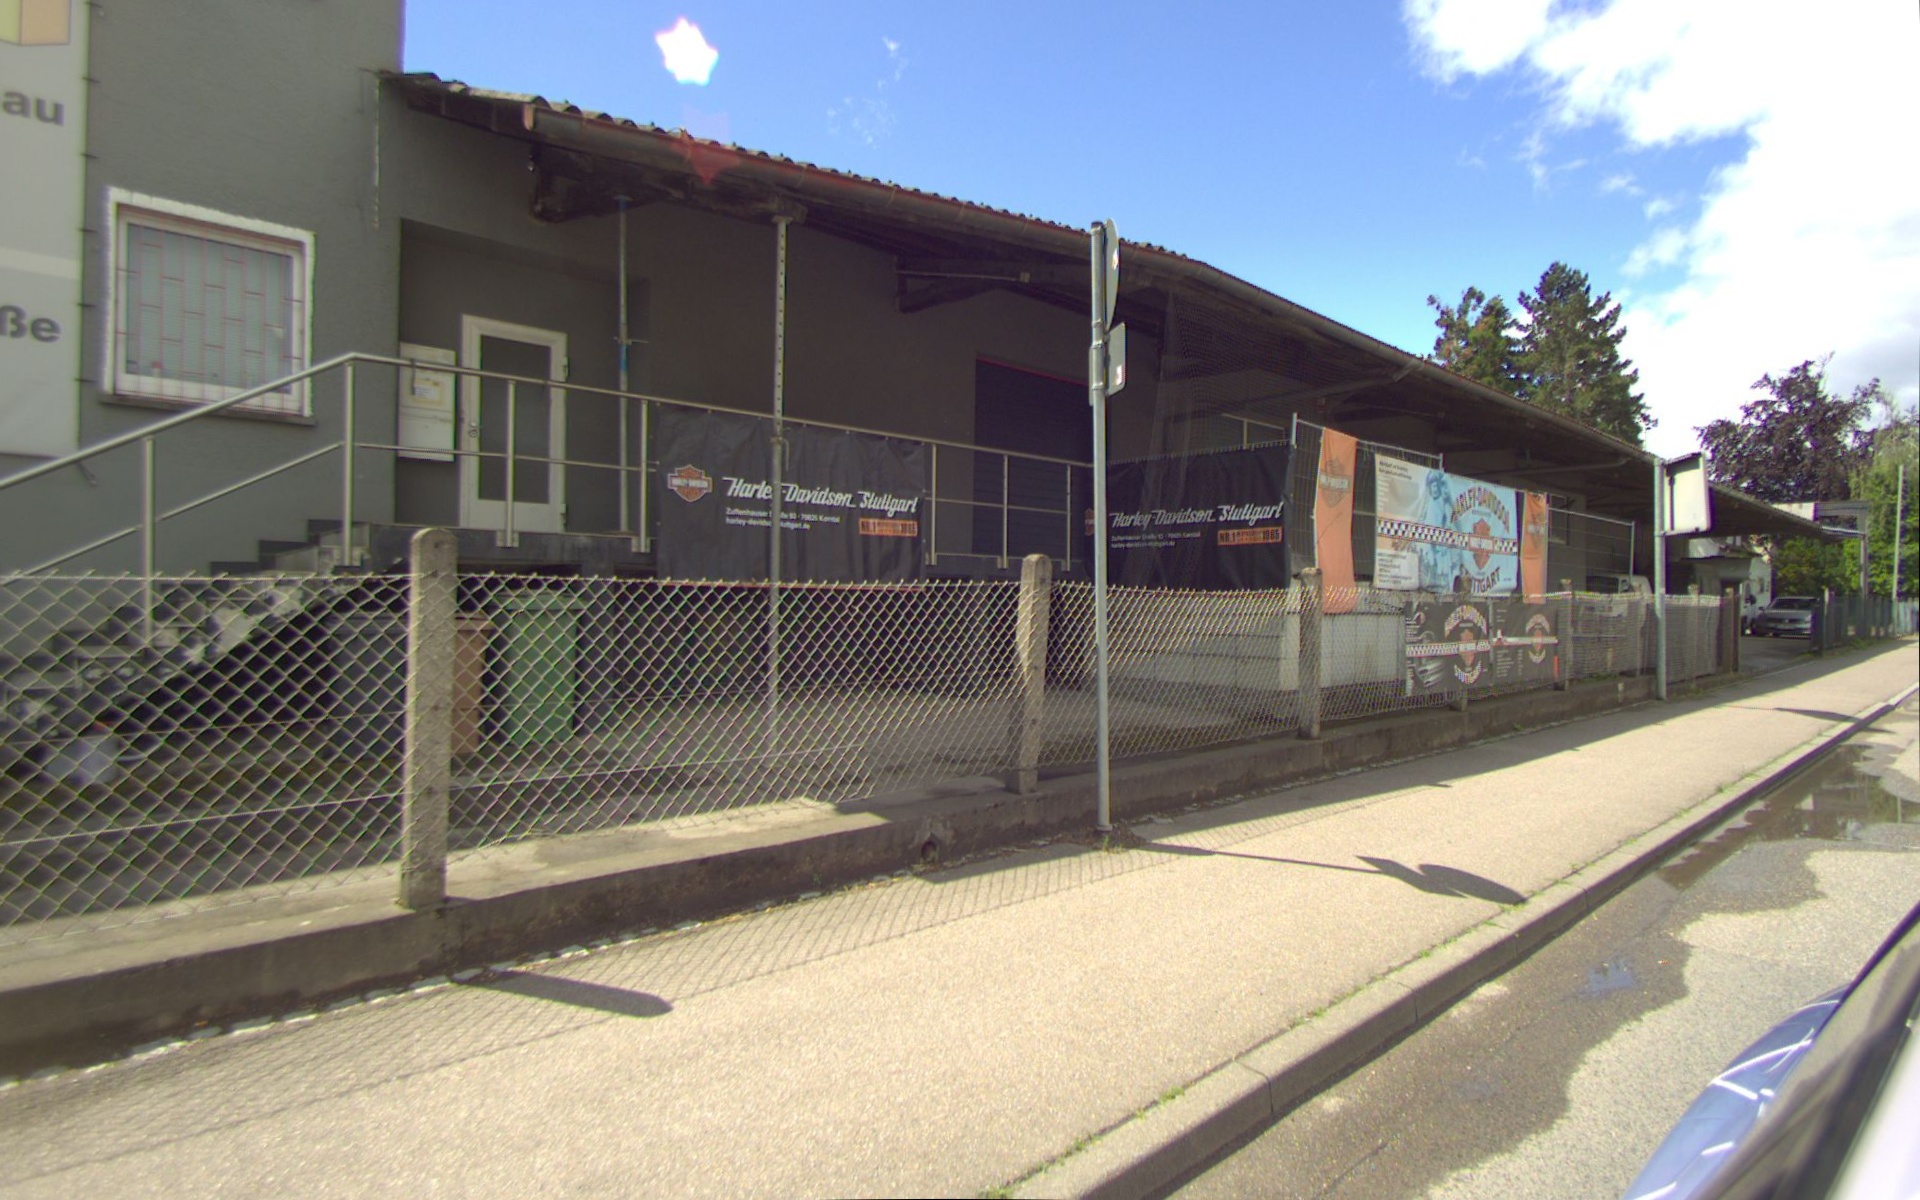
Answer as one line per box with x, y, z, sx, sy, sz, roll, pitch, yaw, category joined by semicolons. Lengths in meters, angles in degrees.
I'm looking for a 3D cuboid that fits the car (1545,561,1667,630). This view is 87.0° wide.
19.801;-0.117;30.916;4.770;1.934;1.996;1;0;-43;car

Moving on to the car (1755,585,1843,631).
29.595;0.288;35.646;4.842;1.508;1.766;1;0;-43;car

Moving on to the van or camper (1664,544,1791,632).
29.613;-0.441;38.932;6.798;3.099;2.883;0;0;-44;van or camper

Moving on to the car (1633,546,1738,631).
25.173;-0.337;35.013;5.405;2.715;2.019;2;-1;-44;car
